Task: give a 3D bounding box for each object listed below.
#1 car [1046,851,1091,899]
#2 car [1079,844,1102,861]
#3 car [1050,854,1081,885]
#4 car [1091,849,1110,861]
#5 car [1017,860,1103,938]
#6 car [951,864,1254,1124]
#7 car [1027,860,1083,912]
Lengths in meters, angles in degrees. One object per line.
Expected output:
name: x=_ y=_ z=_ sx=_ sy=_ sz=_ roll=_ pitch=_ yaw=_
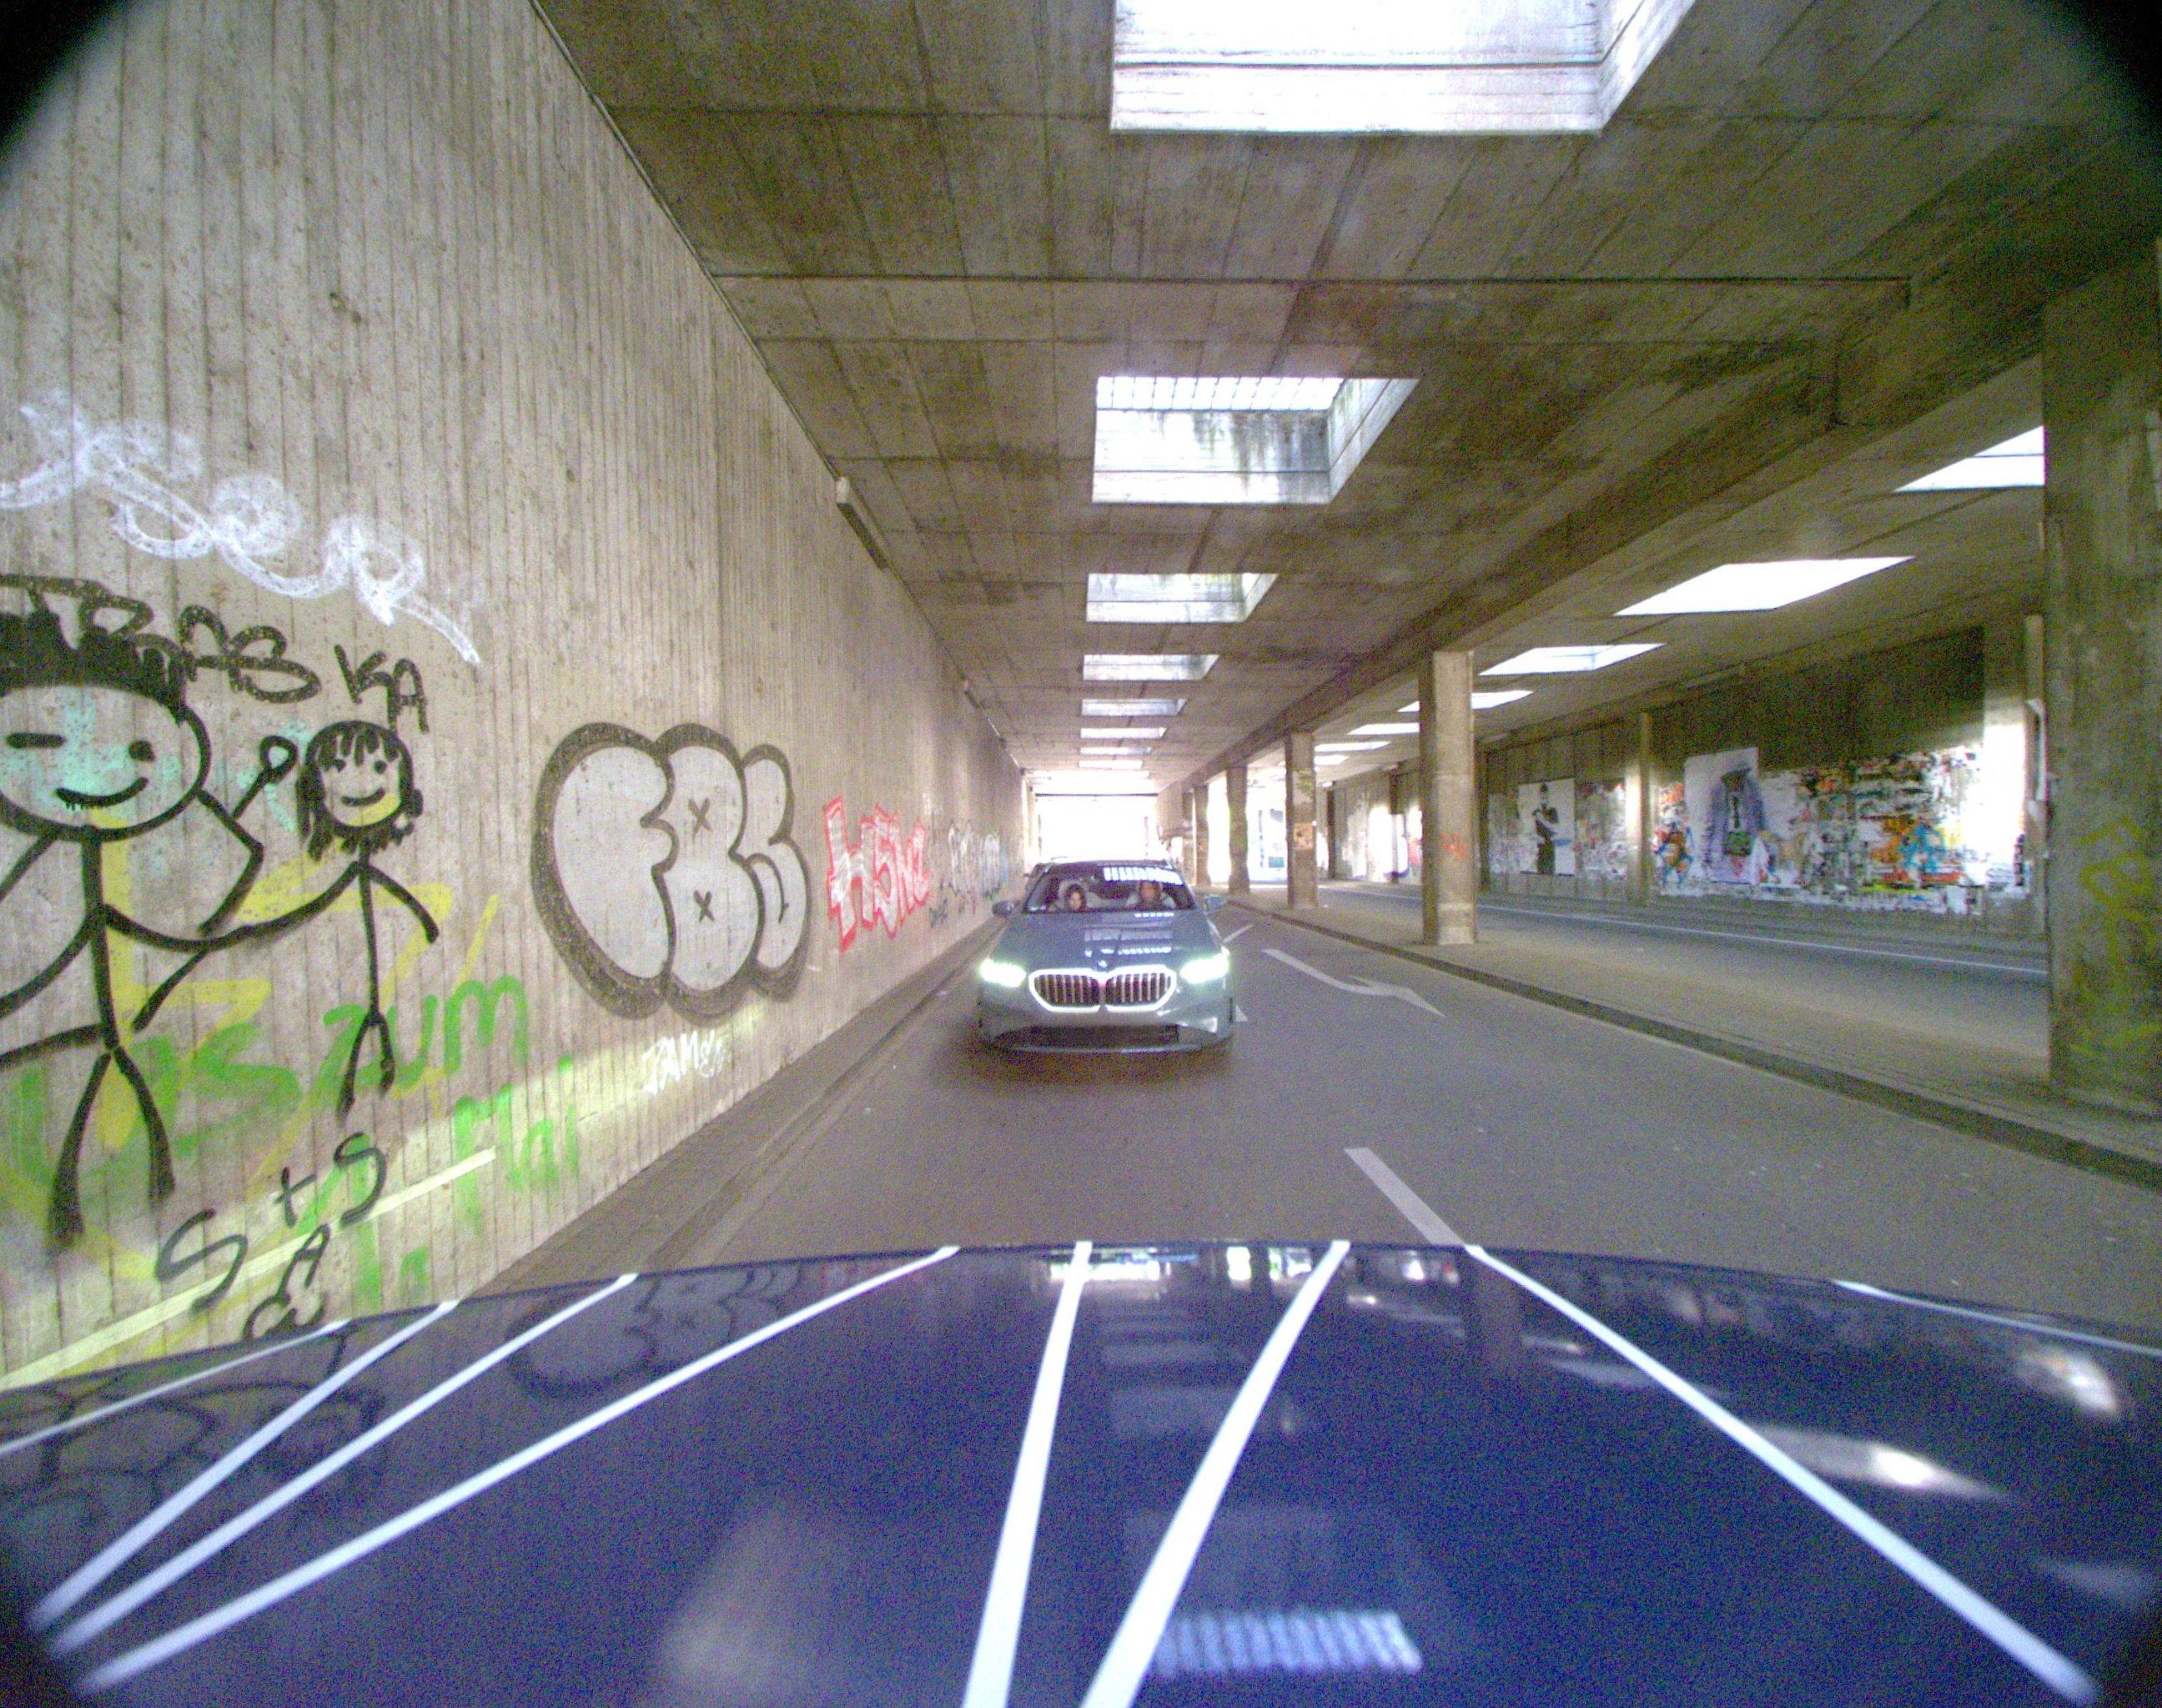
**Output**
car: x=-0.468 y=0.775 z=29.921 sx=1.592 sy=1.711 sz=3.694 roll=-2 pitch=0 yaw=0
car: x=1.270 y=-0.186 z=103.661 sx=2.161 sy=2.150 sz=4.785 roll=-2 pitch=0 yaw=-12
car: x=-0.813 y=0.810 z=41.249 sx=1.592 sy=1.562 sz=3.694 roll=-2 pitch=0 yaw=0
car: x=2.467 y=0.144 z=97.969 sx=1.741 sy=1.519 sz=3.786 roll=-2 pitch=0 yaw=-9
car: x=-0.430 y=0.923 z=17.288 sx=1.679 sy=1.516 sz=3.969 roll=-2 pitch=0 yaw=0
car: x=0.124 y=0.908 z=7.279 sx=1.861 sy=1.516 sz=5.042 roll=-2 pitch=0 yaw=0
car: x=-0.767 y=0.952 z=23.914 sx=1.592 sy=1.432 sz=3.806 roll=-2 pitch=0 yaw=0
